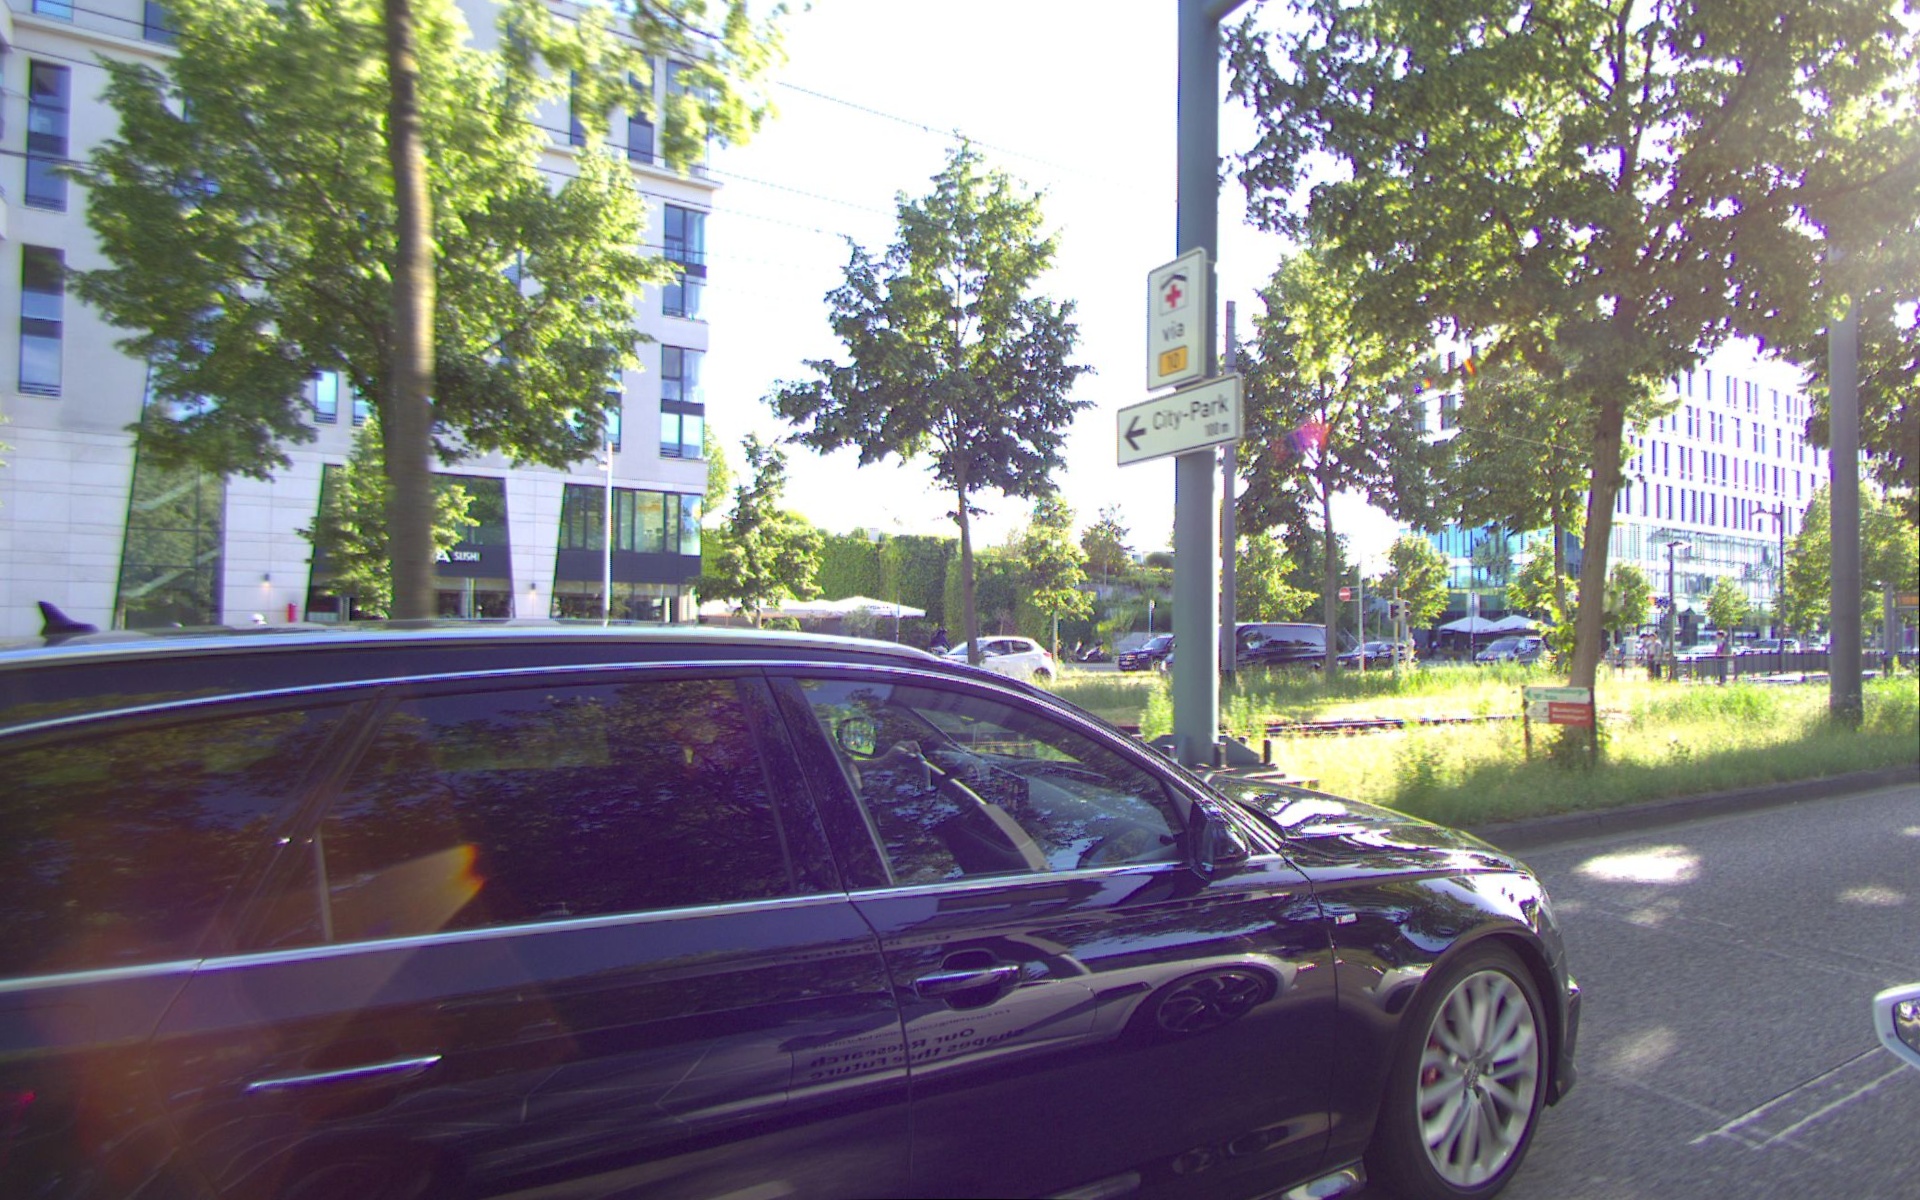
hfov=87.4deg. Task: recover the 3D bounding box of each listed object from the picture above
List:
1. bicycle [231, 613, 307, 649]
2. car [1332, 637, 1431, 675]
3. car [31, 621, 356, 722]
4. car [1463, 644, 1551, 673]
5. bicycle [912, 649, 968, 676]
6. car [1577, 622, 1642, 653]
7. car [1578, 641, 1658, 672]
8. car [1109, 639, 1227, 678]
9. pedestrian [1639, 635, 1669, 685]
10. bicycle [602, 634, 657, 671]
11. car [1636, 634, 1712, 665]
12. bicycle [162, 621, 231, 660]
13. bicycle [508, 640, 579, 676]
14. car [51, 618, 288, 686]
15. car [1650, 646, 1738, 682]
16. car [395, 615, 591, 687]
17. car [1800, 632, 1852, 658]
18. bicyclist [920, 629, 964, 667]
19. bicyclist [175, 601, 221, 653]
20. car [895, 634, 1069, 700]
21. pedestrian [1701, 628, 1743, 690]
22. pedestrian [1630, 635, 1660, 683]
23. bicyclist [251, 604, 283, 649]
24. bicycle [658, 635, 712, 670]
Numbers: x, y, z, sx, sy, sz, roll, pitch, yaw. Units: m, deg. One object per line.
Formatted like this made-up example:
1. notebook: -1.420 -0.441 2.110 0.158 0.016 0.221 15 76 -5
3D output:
1. bicycle: -20.489 0.920 29.824 1.778 1.030 0.377 2 0 -29
2. car: 19.908 2.633 47.424 4.555 1.642 1.871 3 -1 -29
3. car: -13.248 1.226 17.771 4.269 1.548 1.984 3 -1 -30
4. car: 28.754 3.059 52.742 4.555 1.343 1.904 3 -1 -29
5. bicycle: -0.751 2.412 38.618 2.163 1.014 0.494 3 0 -31
6. car: 46.780 2.723 72.338 4.508 2.040 1.985 3 0 -29
7. car: 38.228 3.279 58.360 4.555 1.630 1.985 3 -1 -29
8. car: 8.446 2.376 40.684 4.555 1.454 1.871 3 -1 -29
9. pedestrian: 21.976 1.905 31.814 0.580 1.538 0.548 2 0 -25
10. bicycle: -12.116 1.919 36.837 1.806 1.269 0.589 2 0 -8
11. car: 43.504 3.011 61.174 4.555 1.694 1.985 3 -1 -29
12. bicycle: -21.438 1.145 28.228 1.466 1.030 0.428 2 0 -29
13. bicycle: -14.639 2.049 35.312 2.215 1.214 0.729 3 -1 -31
14. car: -18.924 1.254 24.334 4.215 1.460 1.949 3 -1 -30
15. car: 34.223 2.968 46.805 3.956 1.506 1.982 3 -1 -32
16. car: -12.996 1.416 28.034 4.725 1.795 1.982 3 -1 -32
17. car: 75.476 3.915 87.580 4.508 2.040 1.985 3 -1 -29
18. bicyclist: -0.687 1.860 38.652 1.641 1.424 0.486 2 0 -31
19. bicyclist: -21.412 0.754 28.238 0.944 1.438 0.428 2 0 -29
20. car: 0.585 1.724 26.378 4.113 1.592 1.986 2 -2 -27
21. pedestrian: 23.765 1.823 31.321 0.718 1.860 0.816 2 0 -32
22. pedestrian: 22.245 1.924 32.605 0.595 1.516 0.541 2 0 -26
23. bicyclist: -20.543 0.780 29.791 0.710 1.320 0.366 2 0 -29
24. bicycle: -10.359 1.980 37.845 1.818 1.269 0.585 2 0 -31
